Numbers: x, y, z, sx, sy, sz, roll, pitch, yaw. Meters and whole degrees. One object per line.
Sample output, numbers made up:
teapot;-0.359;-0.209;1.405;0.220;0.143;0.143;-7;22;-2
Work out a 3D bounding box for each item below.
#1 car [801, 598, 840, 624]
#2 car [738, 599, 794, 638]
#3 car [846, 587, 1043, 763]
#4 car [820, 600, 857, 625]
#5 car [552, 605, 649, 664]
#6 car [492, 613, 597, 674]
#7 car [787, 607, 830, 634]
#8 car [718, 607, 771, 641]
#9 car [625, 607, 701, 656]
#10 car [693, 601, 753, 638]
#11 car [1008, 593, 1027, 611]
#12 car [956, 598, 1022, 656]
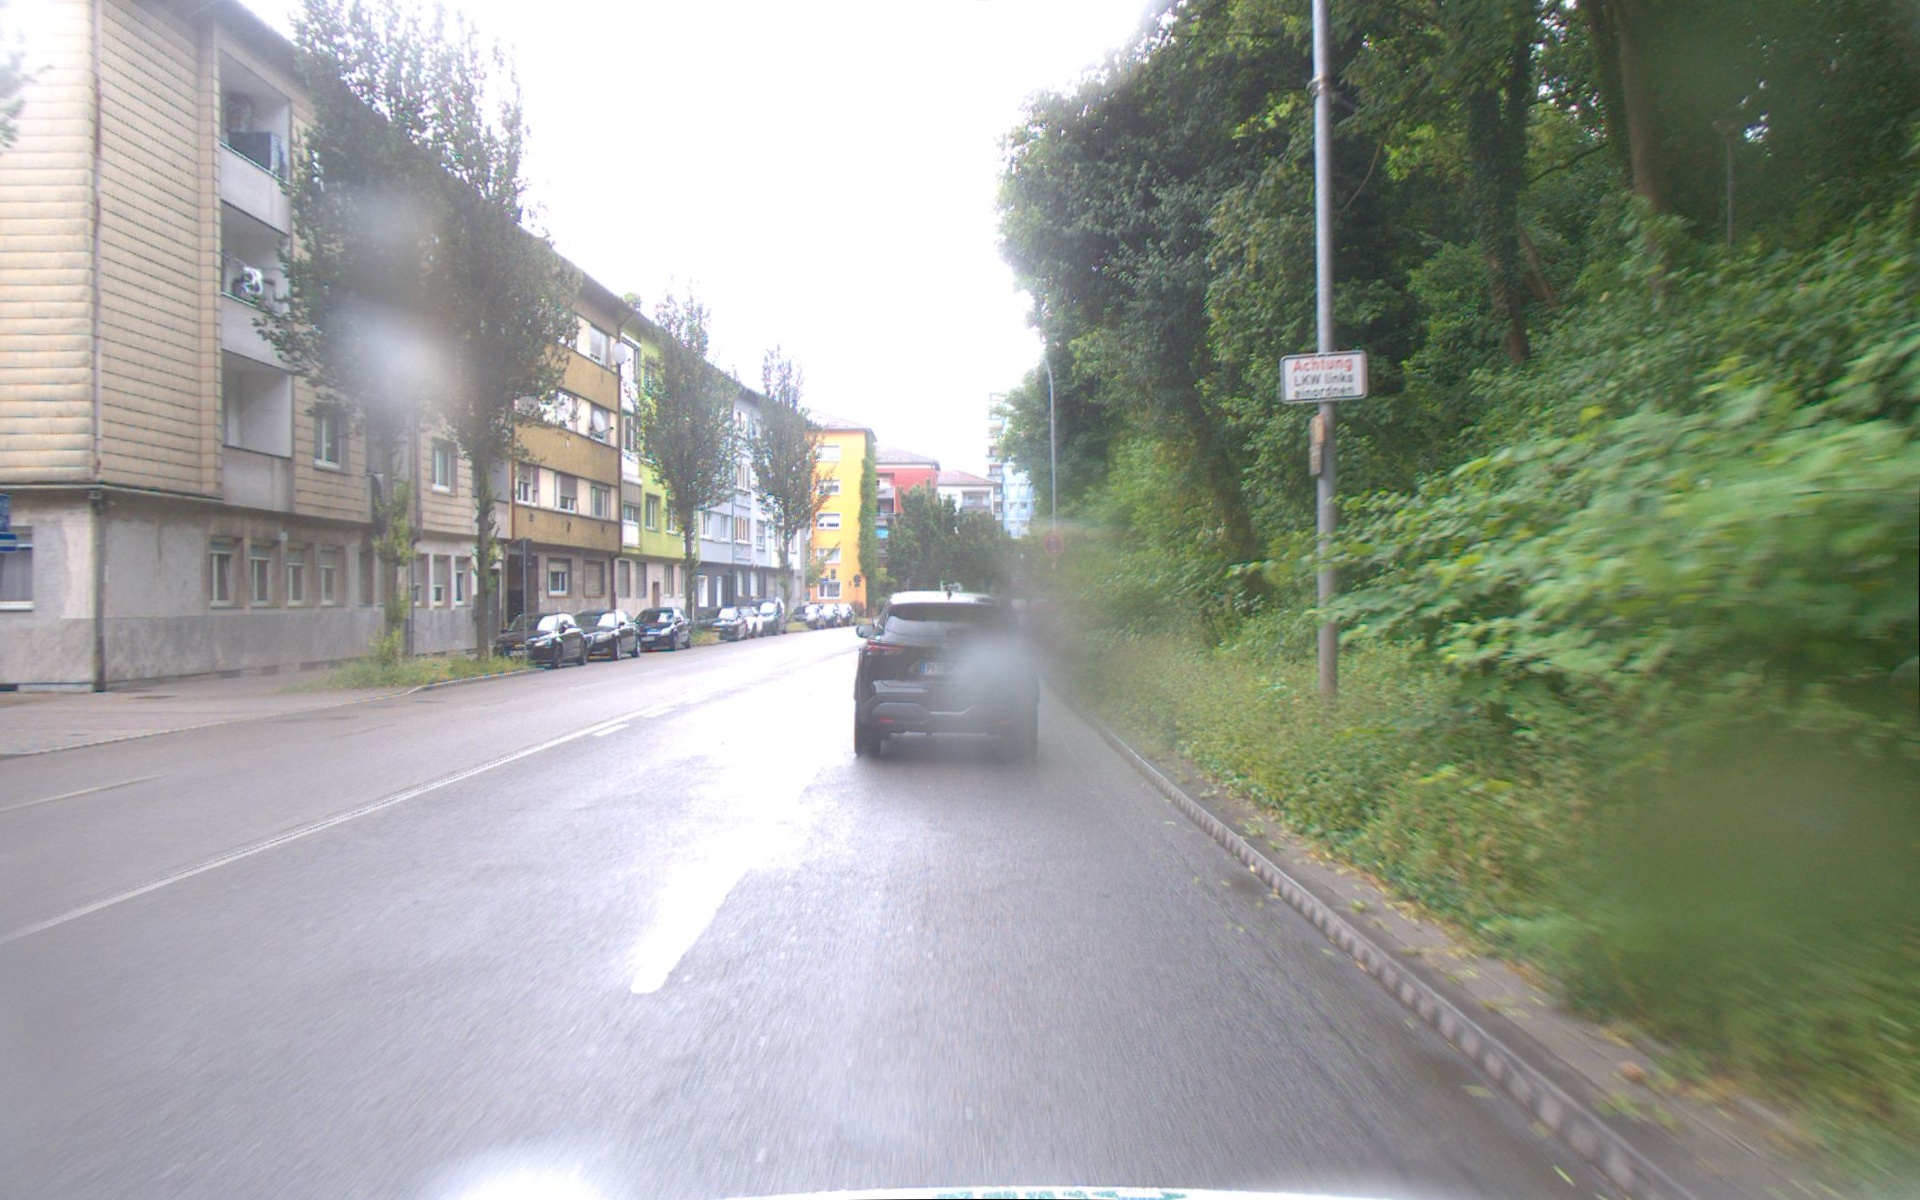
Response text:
car;-8.412;0.650;99.895;1.645;1.474;4.278;-3;0;4
car;-9.516;0.885;81.413;1.851;1.797;4.603;-2;0;4
car;-0.157;0.683;17.318;1.807;1.610;4.000;1;0;-1
car;-7.757;0.766;105.802;1.676;1.450;4.325;-3;0;4
car;-10.602;0.982;49.092;1.780;1.514;4.790;-2;0;0
car;-10.734;1.092;42.968;1.592;1.411;3.989;-1;0;1
car;-8.593;1.152;94.263;1.653;1.381;4.581;-4;0;4
car;-9.822;1.065;75.653;1.645;1.400;4.001;-3;0;3
car;-10.415;1.083;58.311;1.683;1.514;4.516;-2;0;2
car;-9.967;0.814;69.824;1.780;1.396;4.681;-2;0;1
car;5.106;0.149;146.533;1.671;1.504;3.681;-1;0;3
car;0.948;0.811;51.822;1.847;1.741;4.002;0;0;5
